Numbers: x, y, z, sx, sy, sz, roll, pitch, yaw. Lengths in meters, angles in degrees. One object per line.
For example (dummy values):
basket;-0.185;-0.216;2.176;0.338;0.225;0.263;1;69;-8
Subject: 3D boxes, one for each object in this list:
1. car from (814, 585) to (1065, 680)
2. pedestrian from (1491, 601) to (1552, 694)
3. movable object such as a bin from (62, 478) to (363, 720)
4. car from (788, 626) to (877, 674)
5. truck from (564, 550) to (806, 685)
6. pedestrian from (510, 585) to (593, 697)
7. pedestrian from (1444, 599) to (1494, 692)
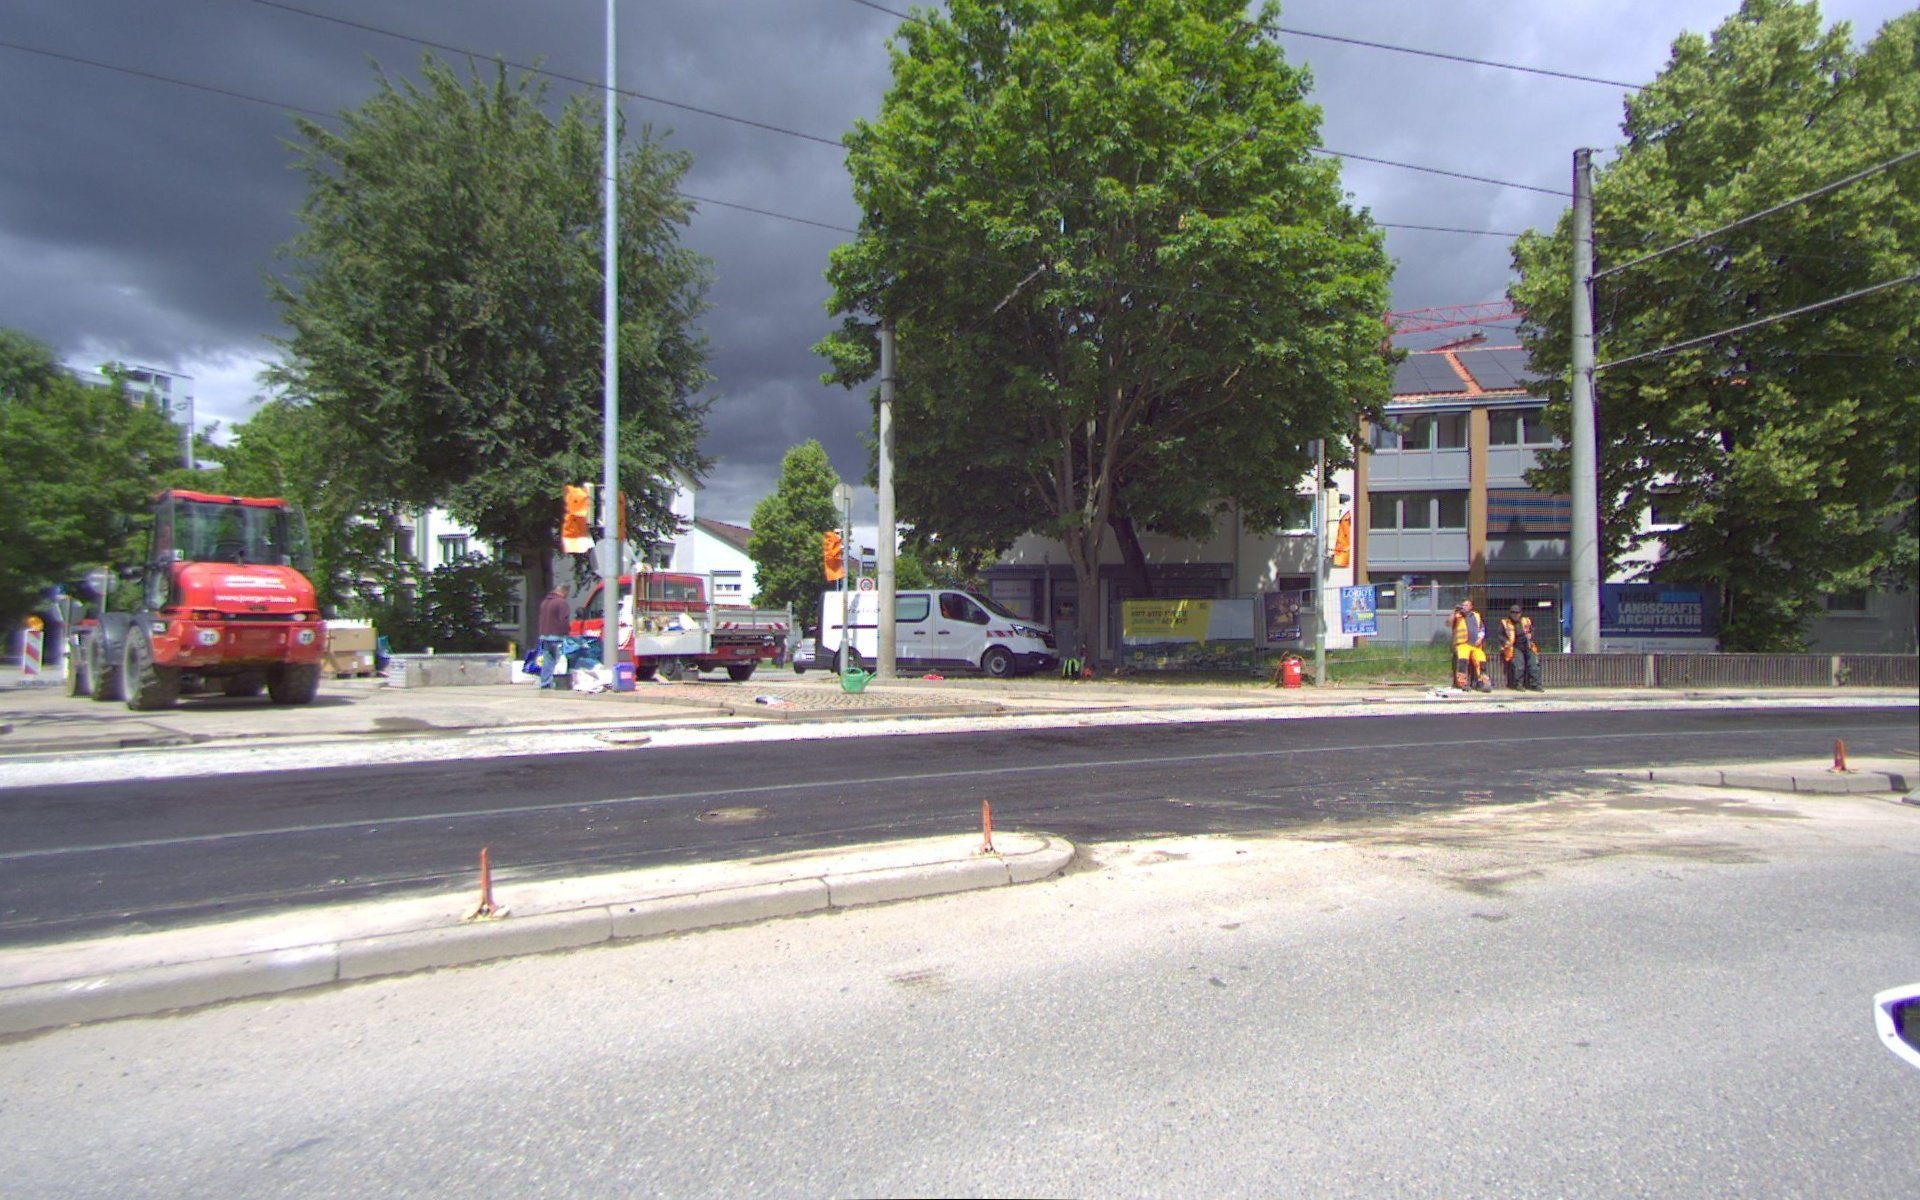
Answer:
car;-0.431;0.733;22.154;5.147;1.911;2.001;0;-3;20
pedestrian;9.726;0.806;17.425;0.891;1.553;0.840;-1;-1;28
movable object such as a bin;-10.403;0.009;13.786;5.504;2.704;2.106;0;-1;41
car;-4.083;1.590;32.498;1.534;1.474;3.203;-1;-2;21
truck;-6.109;0.449;21.975;5.499;2.602;2.408;-2;-3;40
pedestrian;-6.395;0.619;15.723;0.914;1.682;0.871;0;0;37
pedestrian;8.797;0.772;17.353;0.748;1.561;0.797;-1;-1;28
